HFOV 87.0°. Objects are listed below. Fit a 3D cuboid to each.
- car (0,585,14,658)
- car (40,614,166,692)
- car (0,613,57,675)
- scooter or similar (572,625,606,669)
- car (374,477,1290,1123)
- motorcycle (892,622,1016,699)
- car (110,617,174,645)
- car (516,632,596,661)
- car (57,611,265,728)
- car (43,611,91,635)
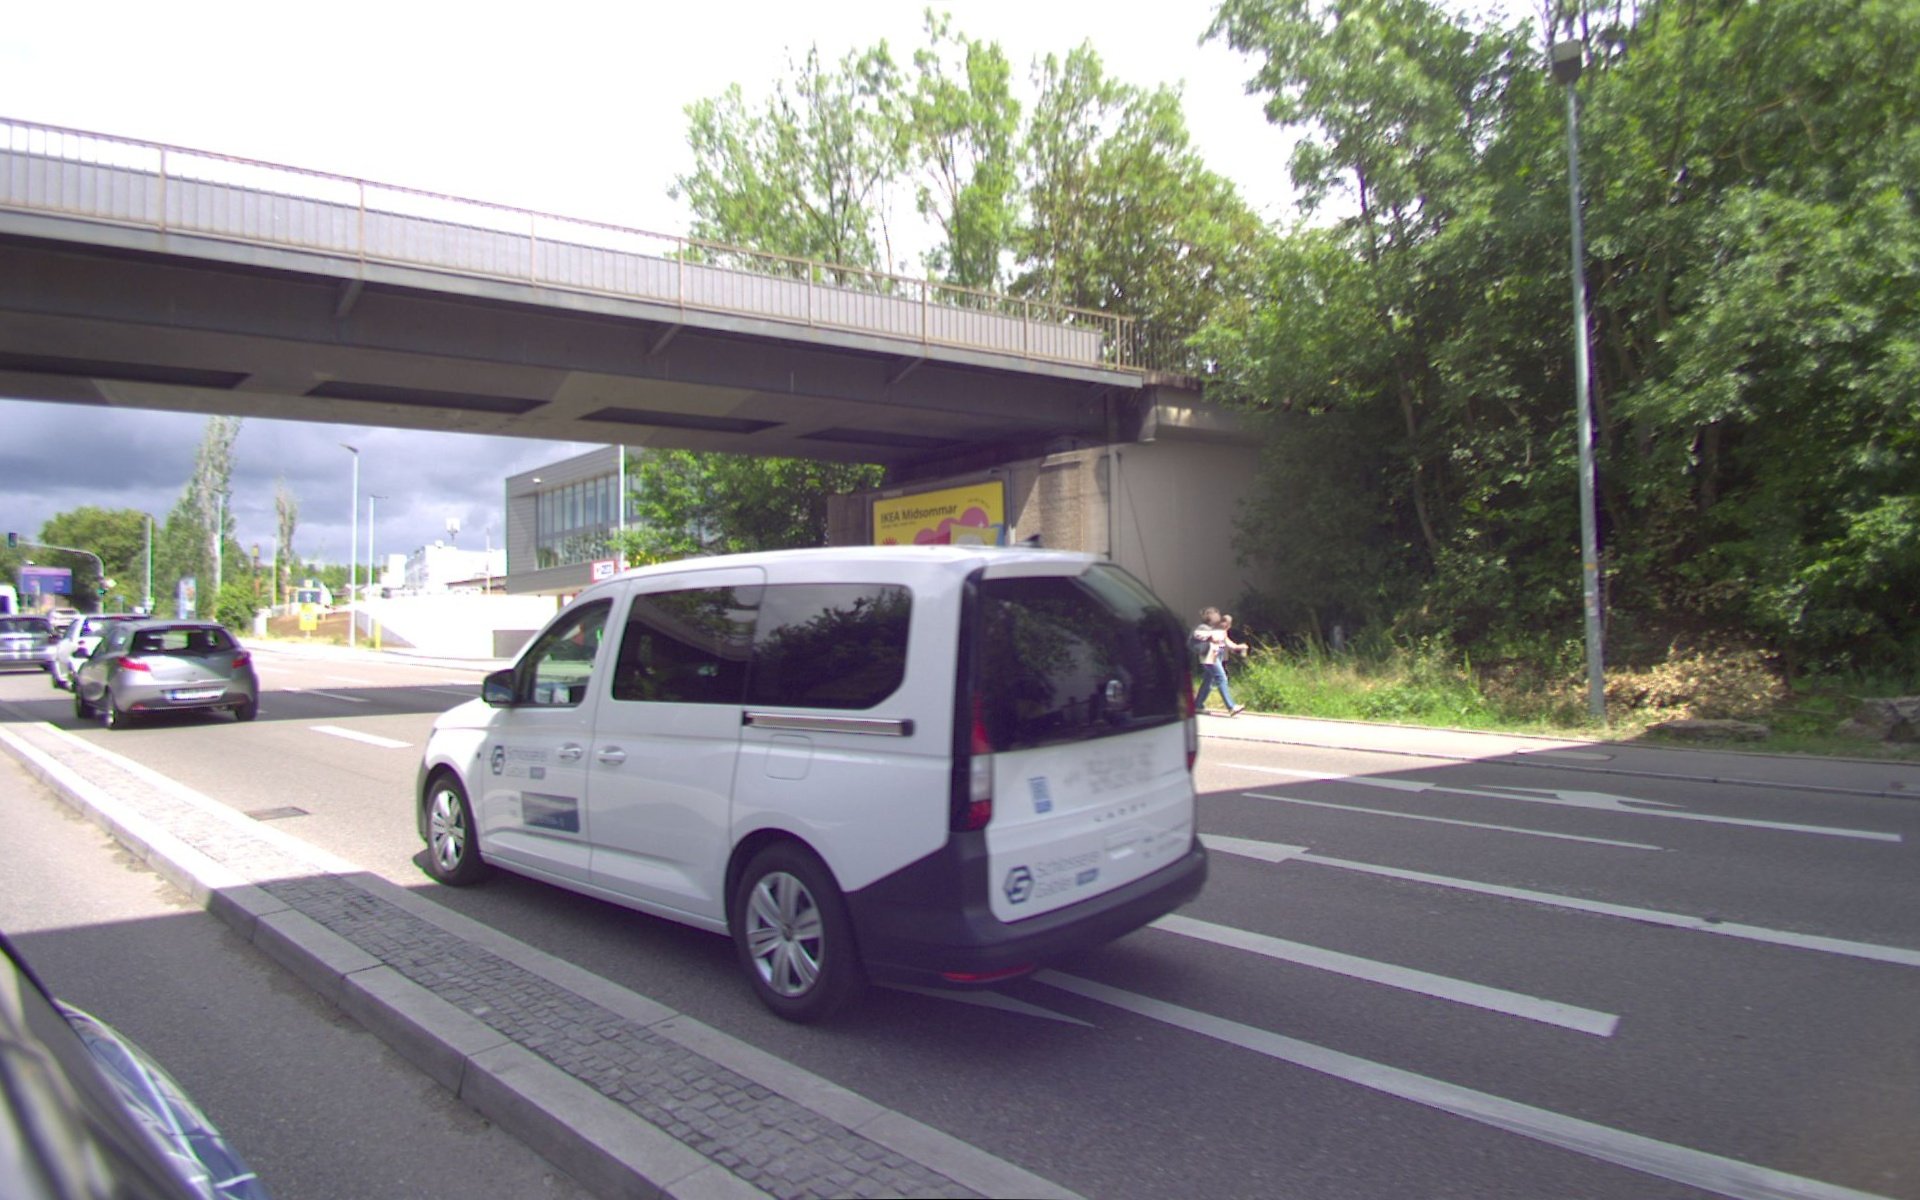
[{"bbox_3d":[-34.928,0.776,35.645,5.572,2.491,2.018,-1,-1,43],"label":"car"},{"bbox_3d":[-18.007,1.053,21.232,3.113,1.500,1.491,-1,-1,39],"label":"car"},{"bbox_3d":[-24.753,1.122,26.323,2.736,1.543,1.552,-1,-1,41],"label":"car"},{"bbox_3d":[-9.947,1.247,27.120,0.470,1.129,1.387,2,-2,-37],"label":"scooter or similar"},{"bbox_3d":[-1.092,0.603,5.152,4.975,1.794,1.789,-1,-2,41],"label":"car"},{"bbox_3d":[-0.137,0.994,17.295,2.256,1.207,0.633,0,1,41],"label":"motorcycle"},{"bbox_3d":[-40.786,1.540,50.440,4.000,1.364,1.971,-1,-2,43],"label":"car"},{"bbox_3d":[-23.771,2.730,59.625,1.958,1.630,3.947,-1,-2,40],"label":"car"},{"bbox_3d":[-11.832,0.931,14.900,3.982,1.500,1.691,-1,-2,41],"label":"car"},{"bbox_3d":[-58.364,1.512,66.127,4.000,1.498,1.971,-1,-2,43],"label":"car"}]
